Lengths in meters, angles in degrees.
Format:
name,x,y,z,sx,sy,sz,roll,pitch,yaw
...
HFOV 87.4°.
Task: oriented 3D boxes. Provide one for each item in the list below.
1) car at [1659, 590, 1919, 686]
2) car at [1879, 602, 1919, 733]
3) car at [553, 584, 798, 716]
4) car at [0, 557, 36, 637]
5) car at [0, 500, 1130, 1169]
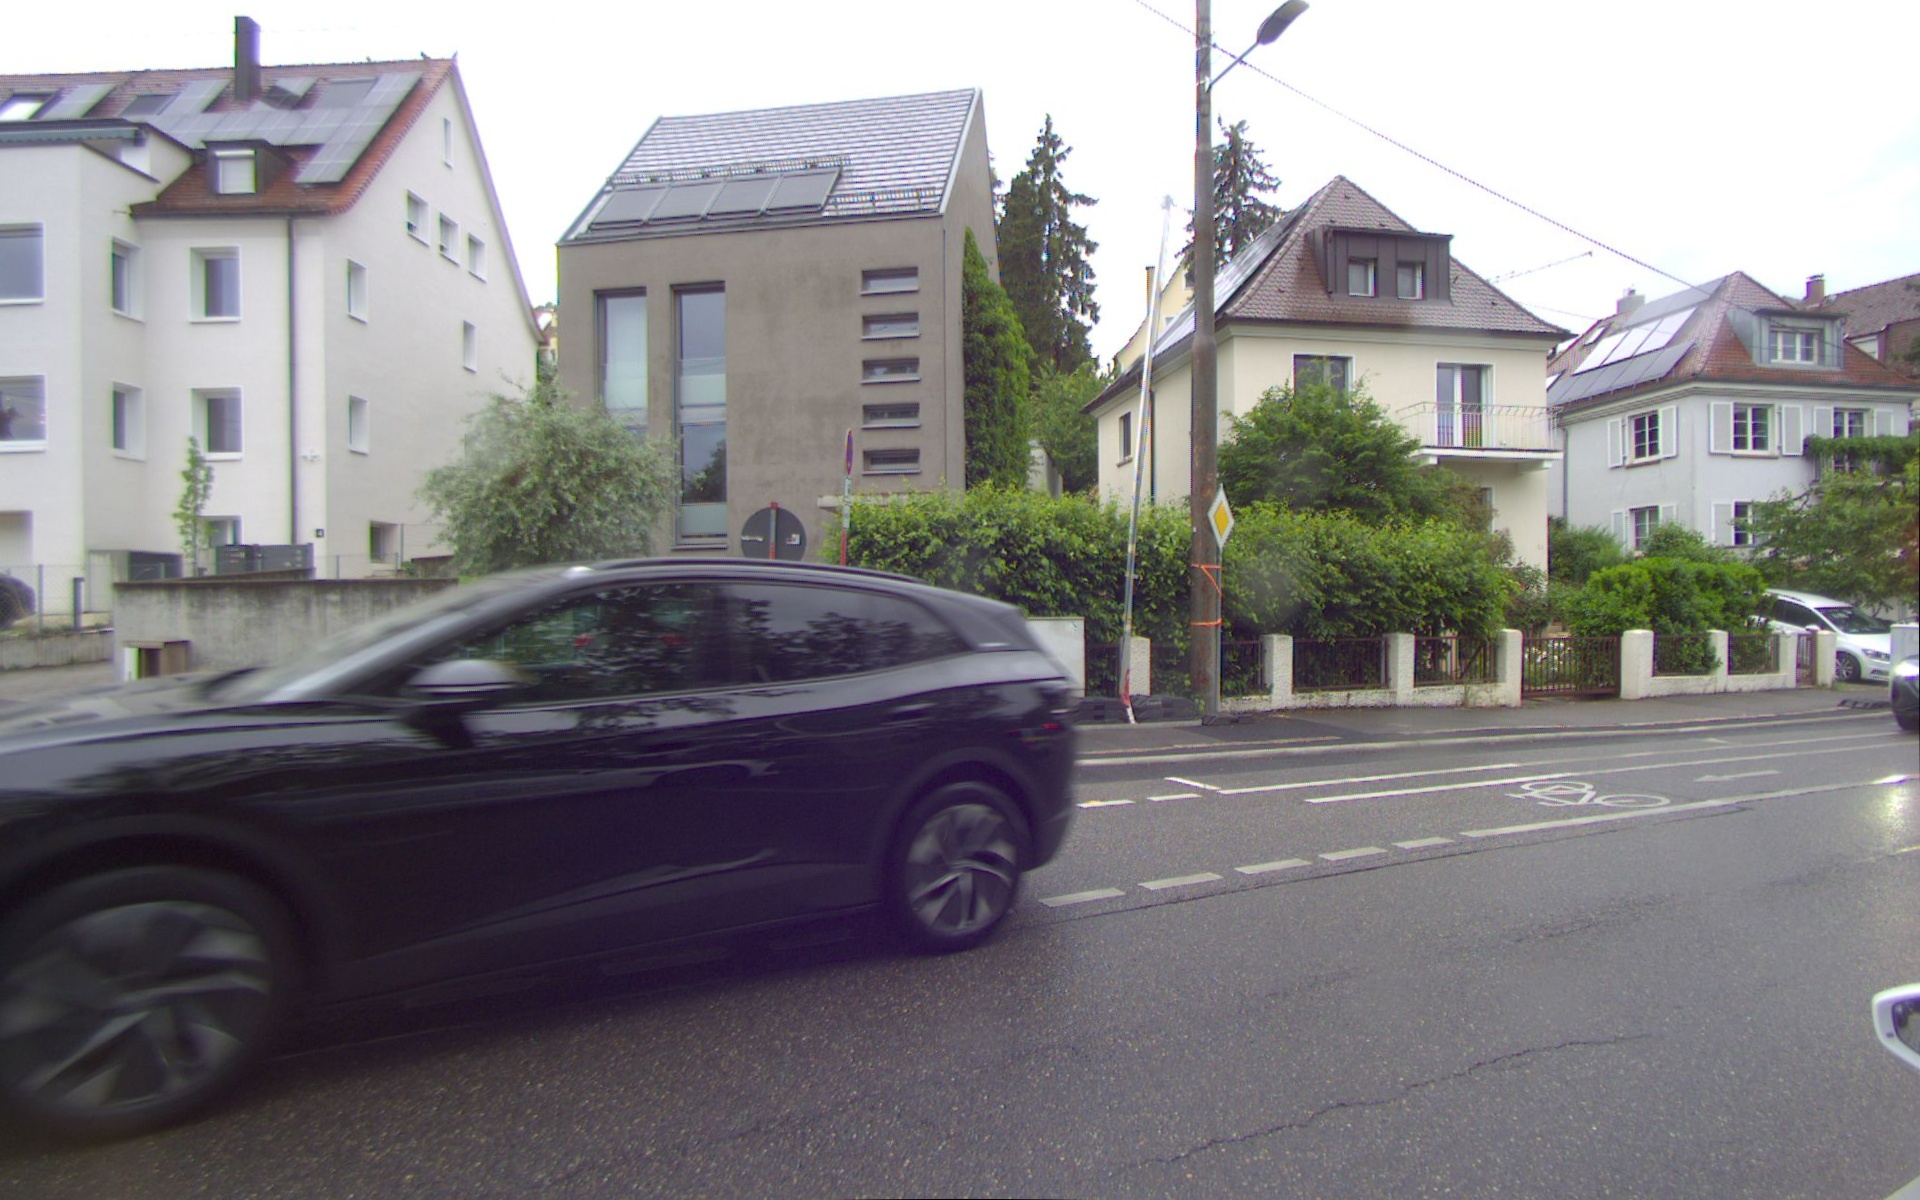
name,x,y,z,sx,sy,sz,roll,pitch,yaw
car,19.586,0.808,23.909,1.870,2.033,4.628,1,0,-18
car,14.782,0.935,13.741,4.633,1.696,1.984,1,0,-30
car,-3.619,0.555,13.574,1.740,1.506,4.002,0,1,7
car,-16.742,0.040,15.168,1.576,1.298,4.008,2,4,6
car,-1.428,0.608,4.253,4.123,1.643,1.854,2,0,-35
